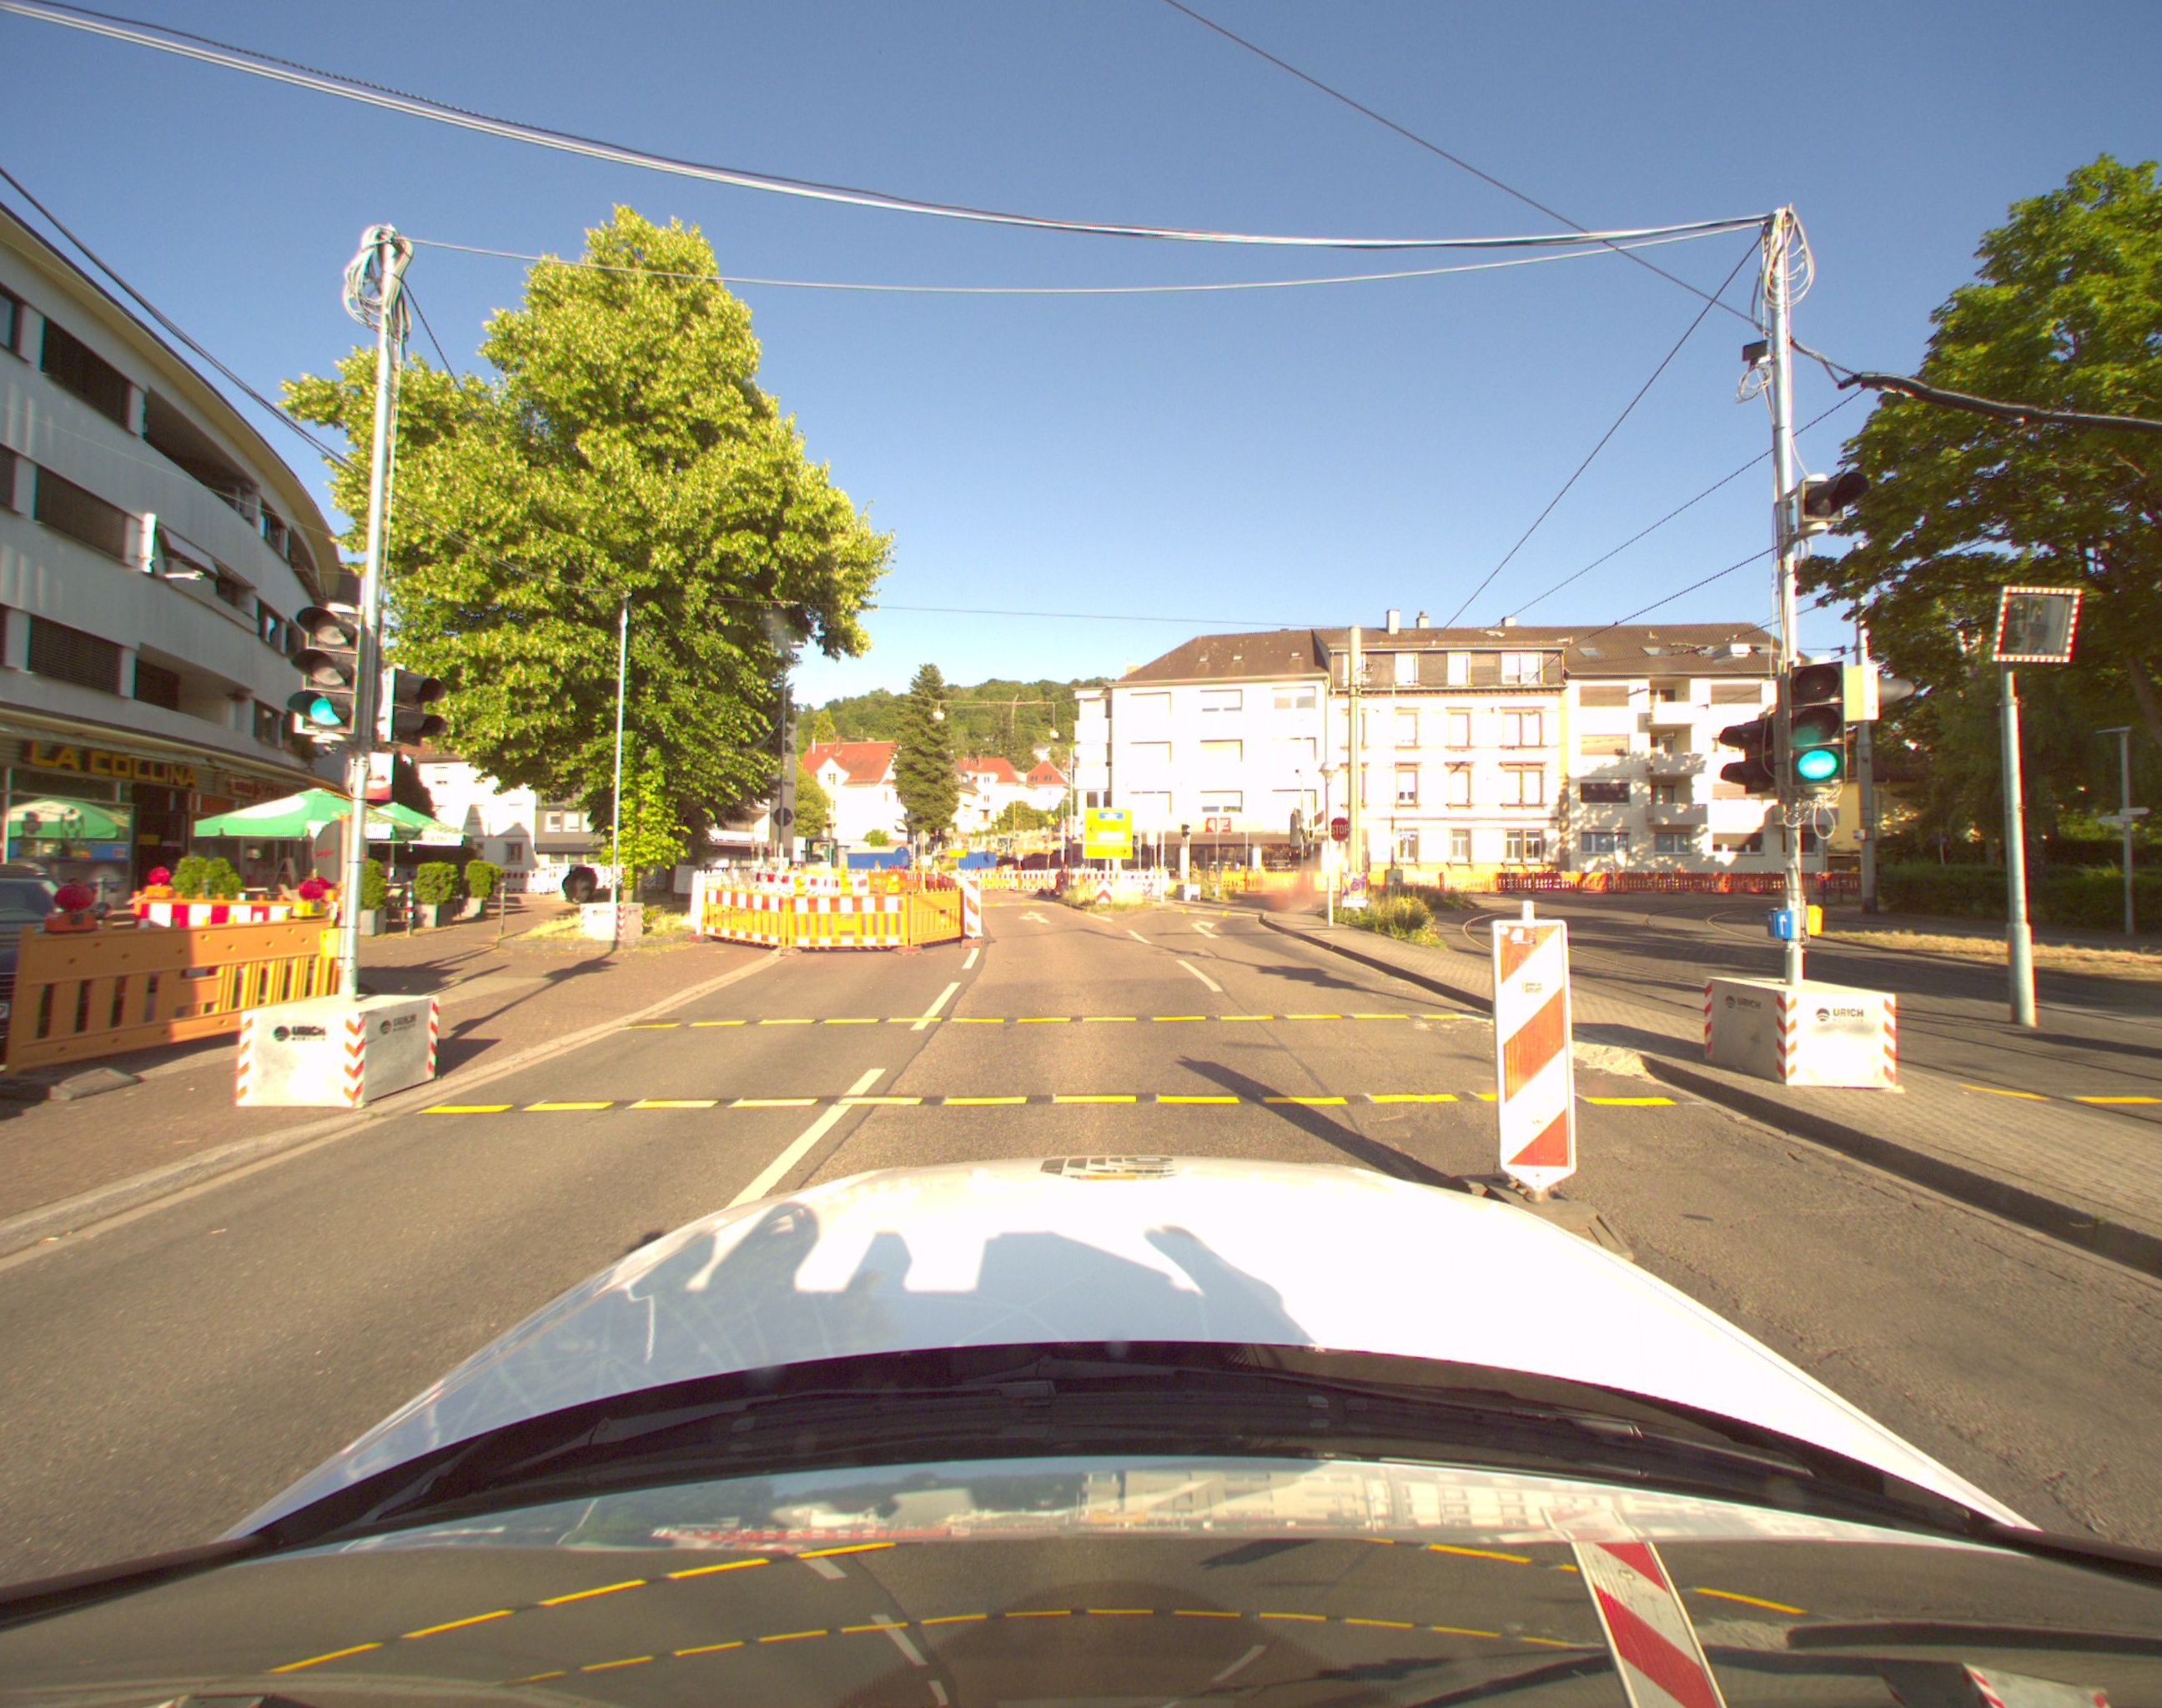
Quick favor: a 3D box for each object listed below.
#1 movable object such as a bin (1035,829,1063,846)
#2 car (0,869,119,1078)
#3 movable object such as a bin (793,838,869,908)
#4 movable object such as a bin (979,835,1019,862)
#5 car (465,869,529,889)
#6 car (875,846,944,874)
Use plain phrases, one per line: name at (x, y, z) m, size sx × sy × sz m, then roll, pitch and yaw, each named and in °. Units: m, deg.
movable object such as a bin at (-4.464, -2.343, 114.585) m, size 2.548 × 2.122 × 5.802 m, roll -1°, pitch -1°, yaw 11°
car at (-9.199, 0.870, 6.600) m, size 3.835 × 1.438 × 1.606 m, roll -2°, pitch -1°, yaw 43°
movable object such as a bin at (-8.874, 0.634, 29.175) m, size 1.642 × 2.325 × 3.917 m, roll 0°, pitch -1°, yaw -3°
movable object such as a bin at (-7.894, -0.480, 78.708) m, size 1.932 × 2.494 × 4.575 m, roll -1°, pitch -1°, yaw 21°
car at (-41.991, 1.787, 58.629) m, size 1.494 × 1.411 × 3.432 m, roll 0°, pitch -1°, yaw 23°
car at (-13.834, 0.513, 66.118) m, size 2.561 × 2.121 × 6.182 m, roll -1°, pitch -1°, yaw 21°
